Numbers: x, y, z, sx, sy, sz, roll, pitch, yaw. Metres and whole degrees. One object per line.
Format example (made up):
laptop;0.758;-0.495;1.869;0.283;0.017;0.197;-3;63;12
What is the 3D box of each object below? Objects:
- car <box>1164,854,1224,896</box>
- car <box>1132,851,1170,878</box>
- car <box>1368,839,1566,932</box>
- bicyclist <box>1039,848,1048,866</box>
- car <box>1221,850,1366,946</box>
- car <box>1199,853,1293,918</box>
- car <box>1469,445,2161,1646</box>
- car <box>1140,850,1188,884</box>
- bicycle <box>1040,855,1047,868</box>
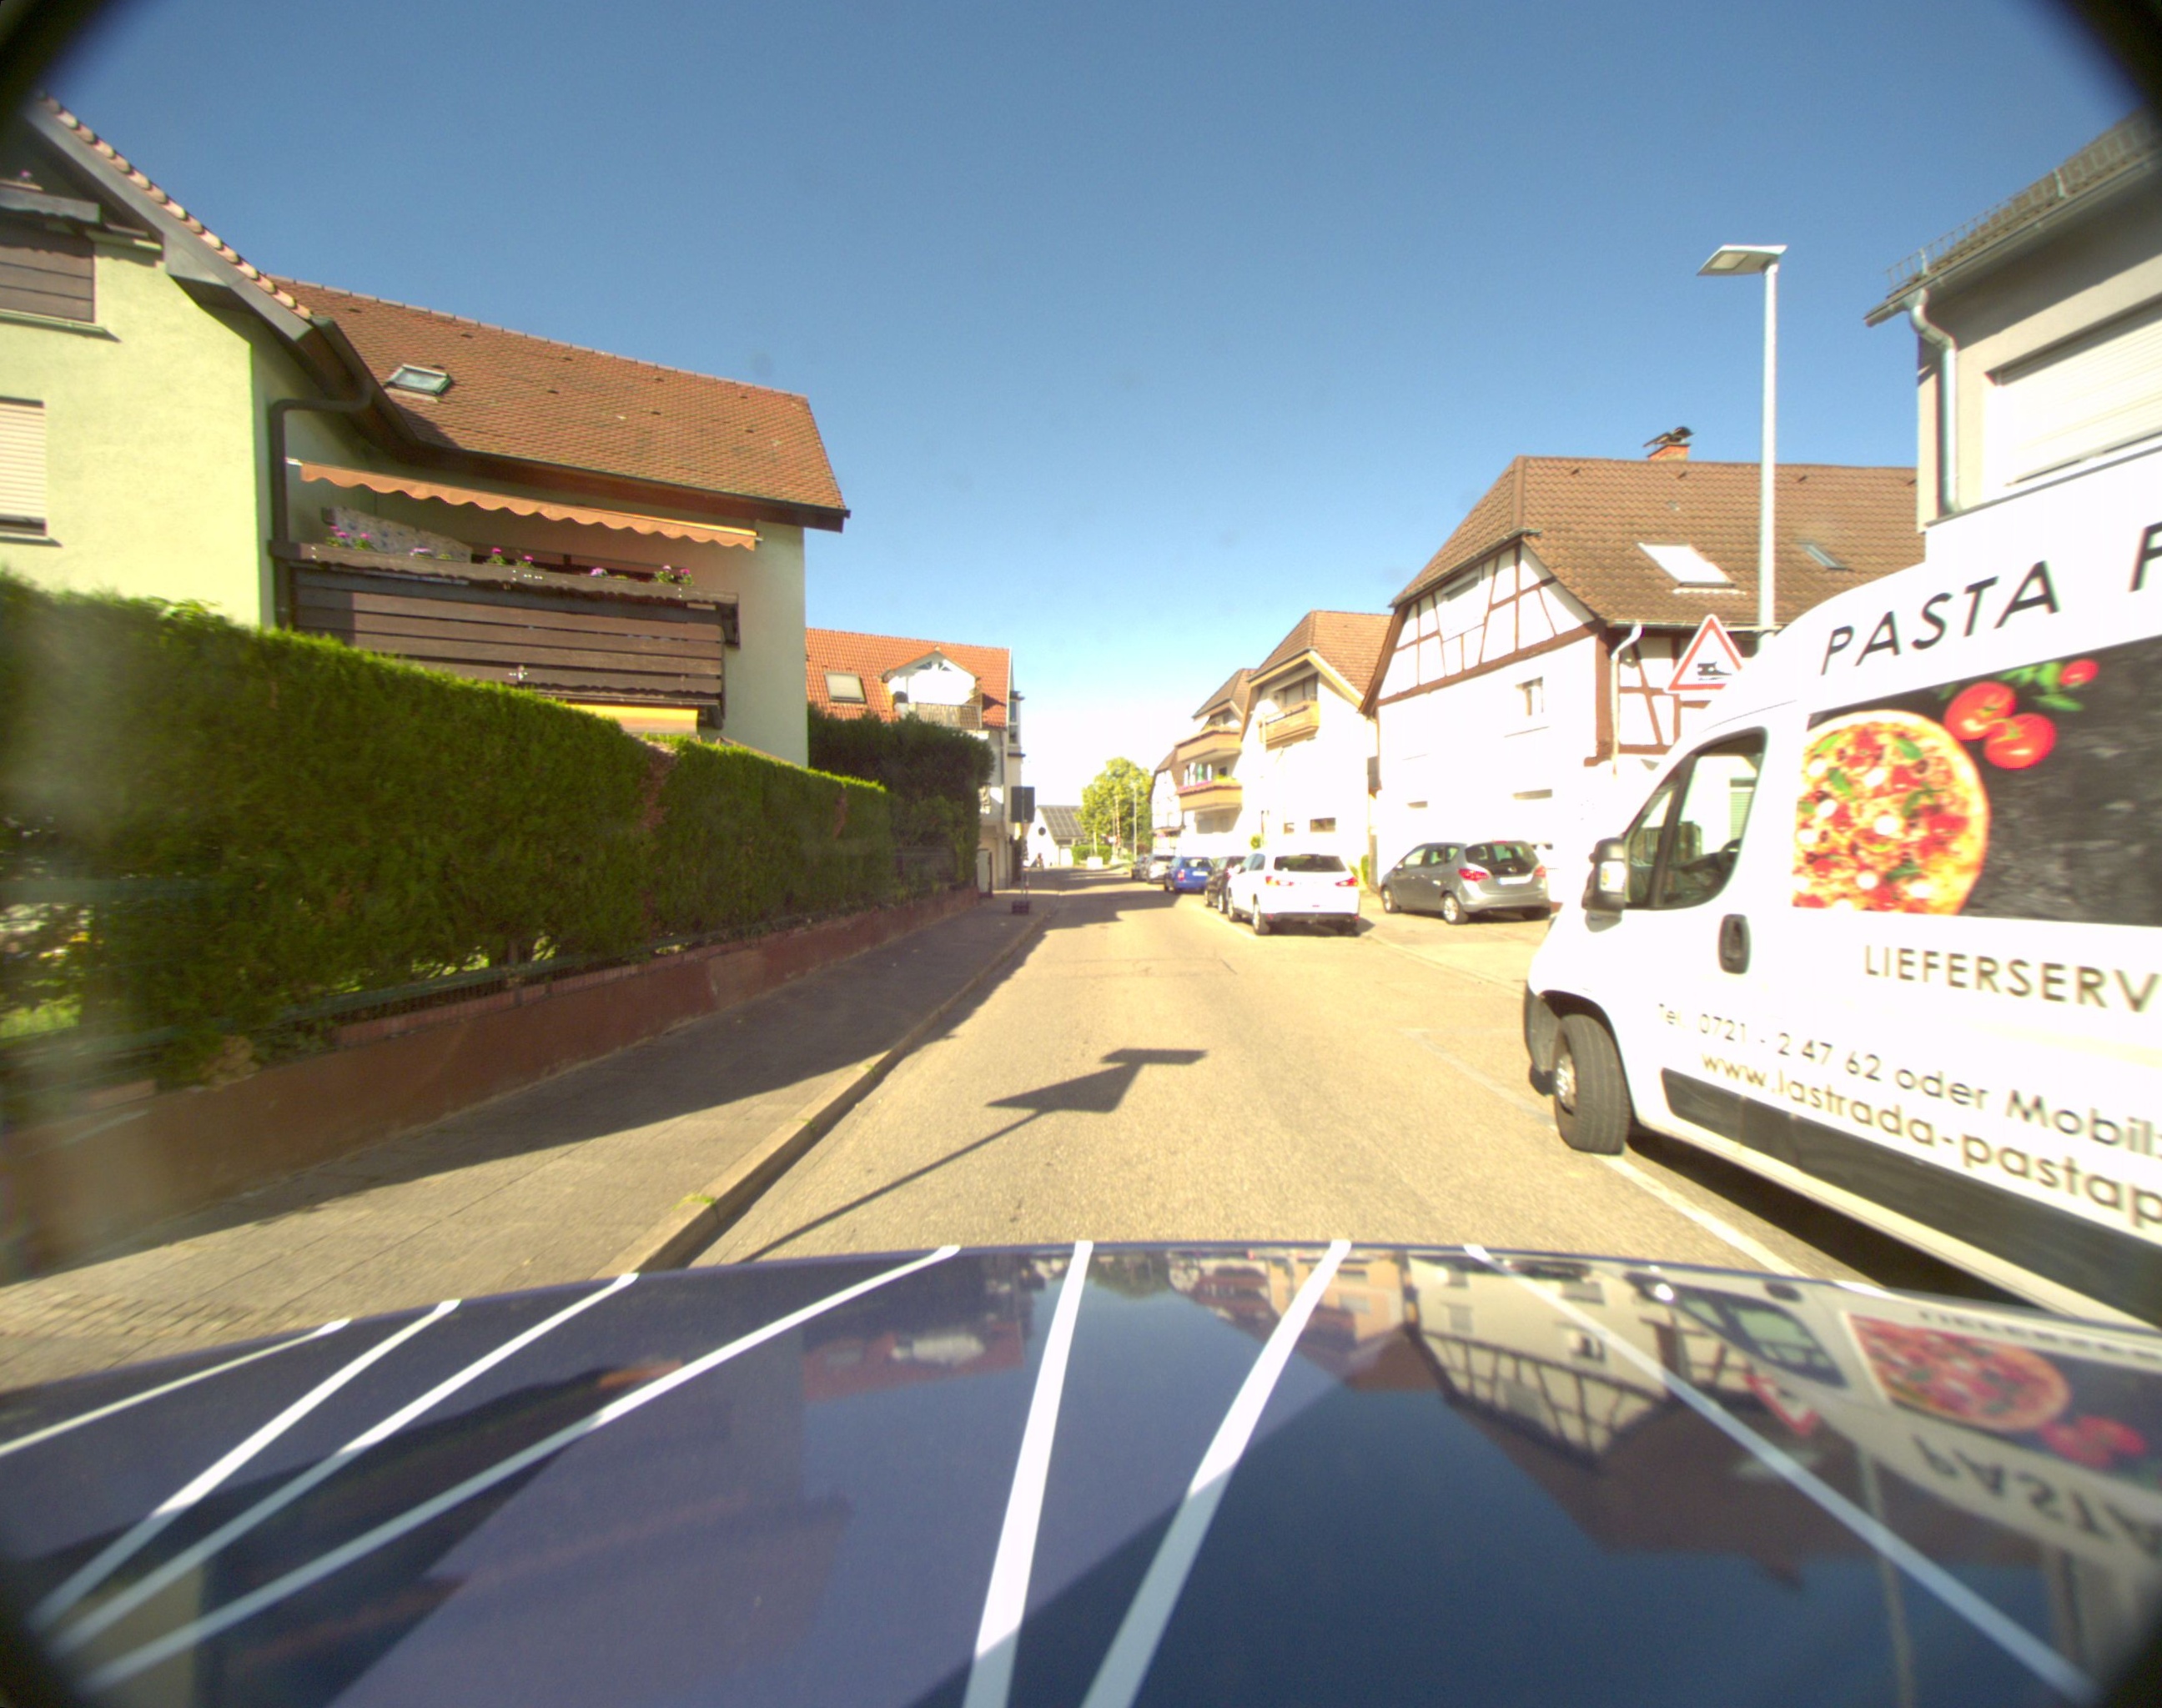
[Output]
car;4.230;0.734;28.842;1.622;1.431;3.955;0;0;-1
car;3.934;0.557;43.274;1.628;1.468;3.614;0;1;-3
car;7.481;0.535;15.234;1.647;1.578;4.110;-1;1;-4
bicyclist;-3.534;0.295;71.708;0.644;1.655;0.604;4;1;-7
car;3.967;0.729;14.888;1.727;1.609;4.111;0;1;0
car;4.186;0.739;19.776;1.659;1.498;3.683;0;1;0
car;3.360;0.386;1.883;2.257;2.456;5.517;0;1;4
car;4.045;0.609;37.760;1.763;1.547;3.998;0;1;-3
bicycle;-3.554;0.676;71.873;0.640;1.175;2.020;-1;1;-6
